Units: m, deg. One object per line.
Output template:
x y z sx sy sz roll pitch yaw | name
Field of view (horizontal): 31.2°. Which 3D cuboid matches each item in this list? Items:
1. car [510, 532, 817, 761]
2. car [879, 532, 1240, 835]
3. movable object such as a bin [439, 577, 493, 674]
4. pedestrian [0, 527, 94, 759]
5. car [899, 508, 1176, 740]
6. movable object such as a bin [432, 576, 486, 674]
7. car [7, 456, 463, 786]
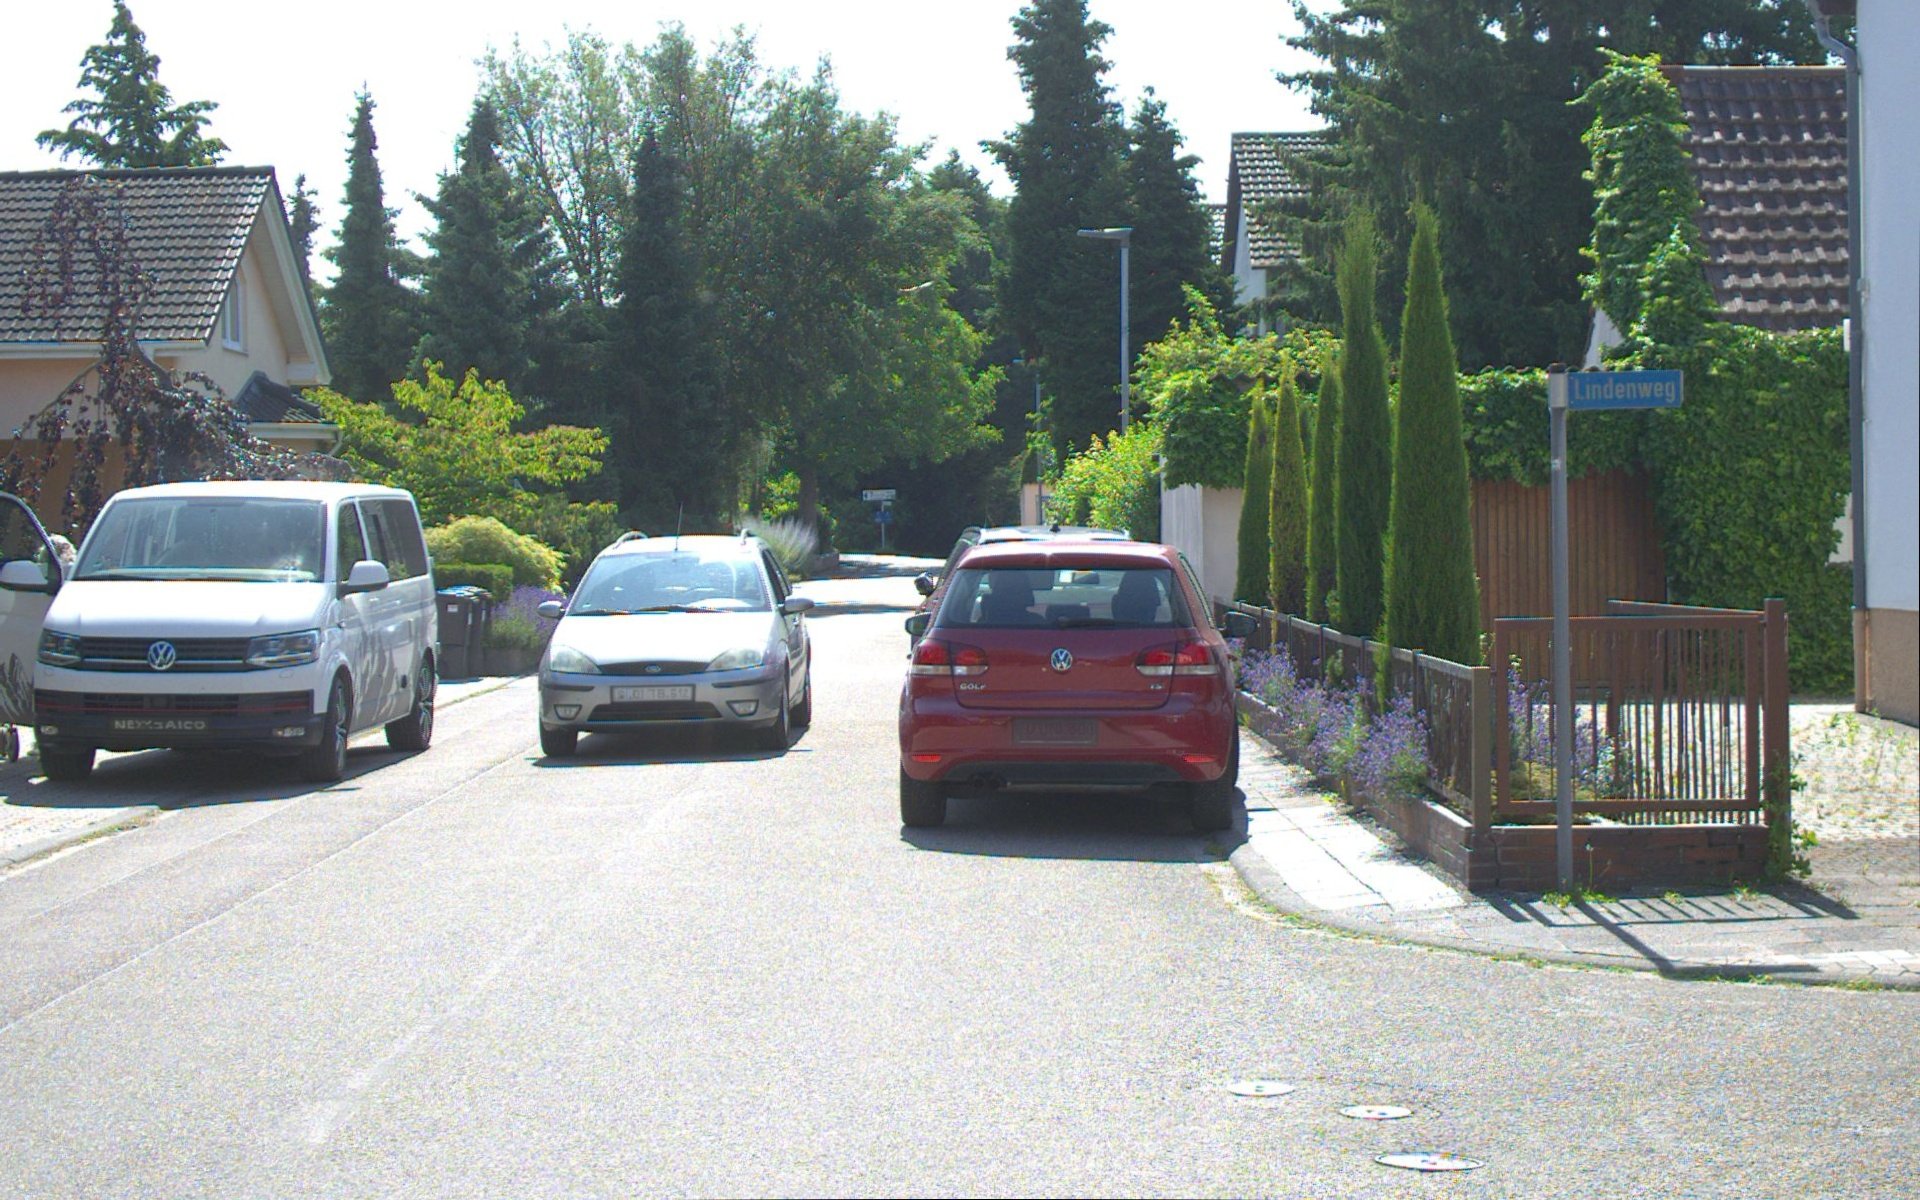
-2.061 0.268 25.006 1.752 1.482 4.375 -1 1 1 | car
0.616 0.377 19.144 1.775 1.474 4.000 1 1 4 | car
-5.333 0.274 37.124 0.494 1.021 0.447 -1 1 0 | movable object such as a bin
-6.360 0.276 23.274 0.718 1.533 0.641 1 2 34 | pedestrian
0.503 0.127 25.909 1.822 1.610 4.001 0 1 -2 | car
-5.339 0.264 36.661 0.494 1.021 0.447 -1 1 0 | movable object such as a bin
-4.795 0.078 23.508 1.929 2.007 4.896 0 1 2 | car
